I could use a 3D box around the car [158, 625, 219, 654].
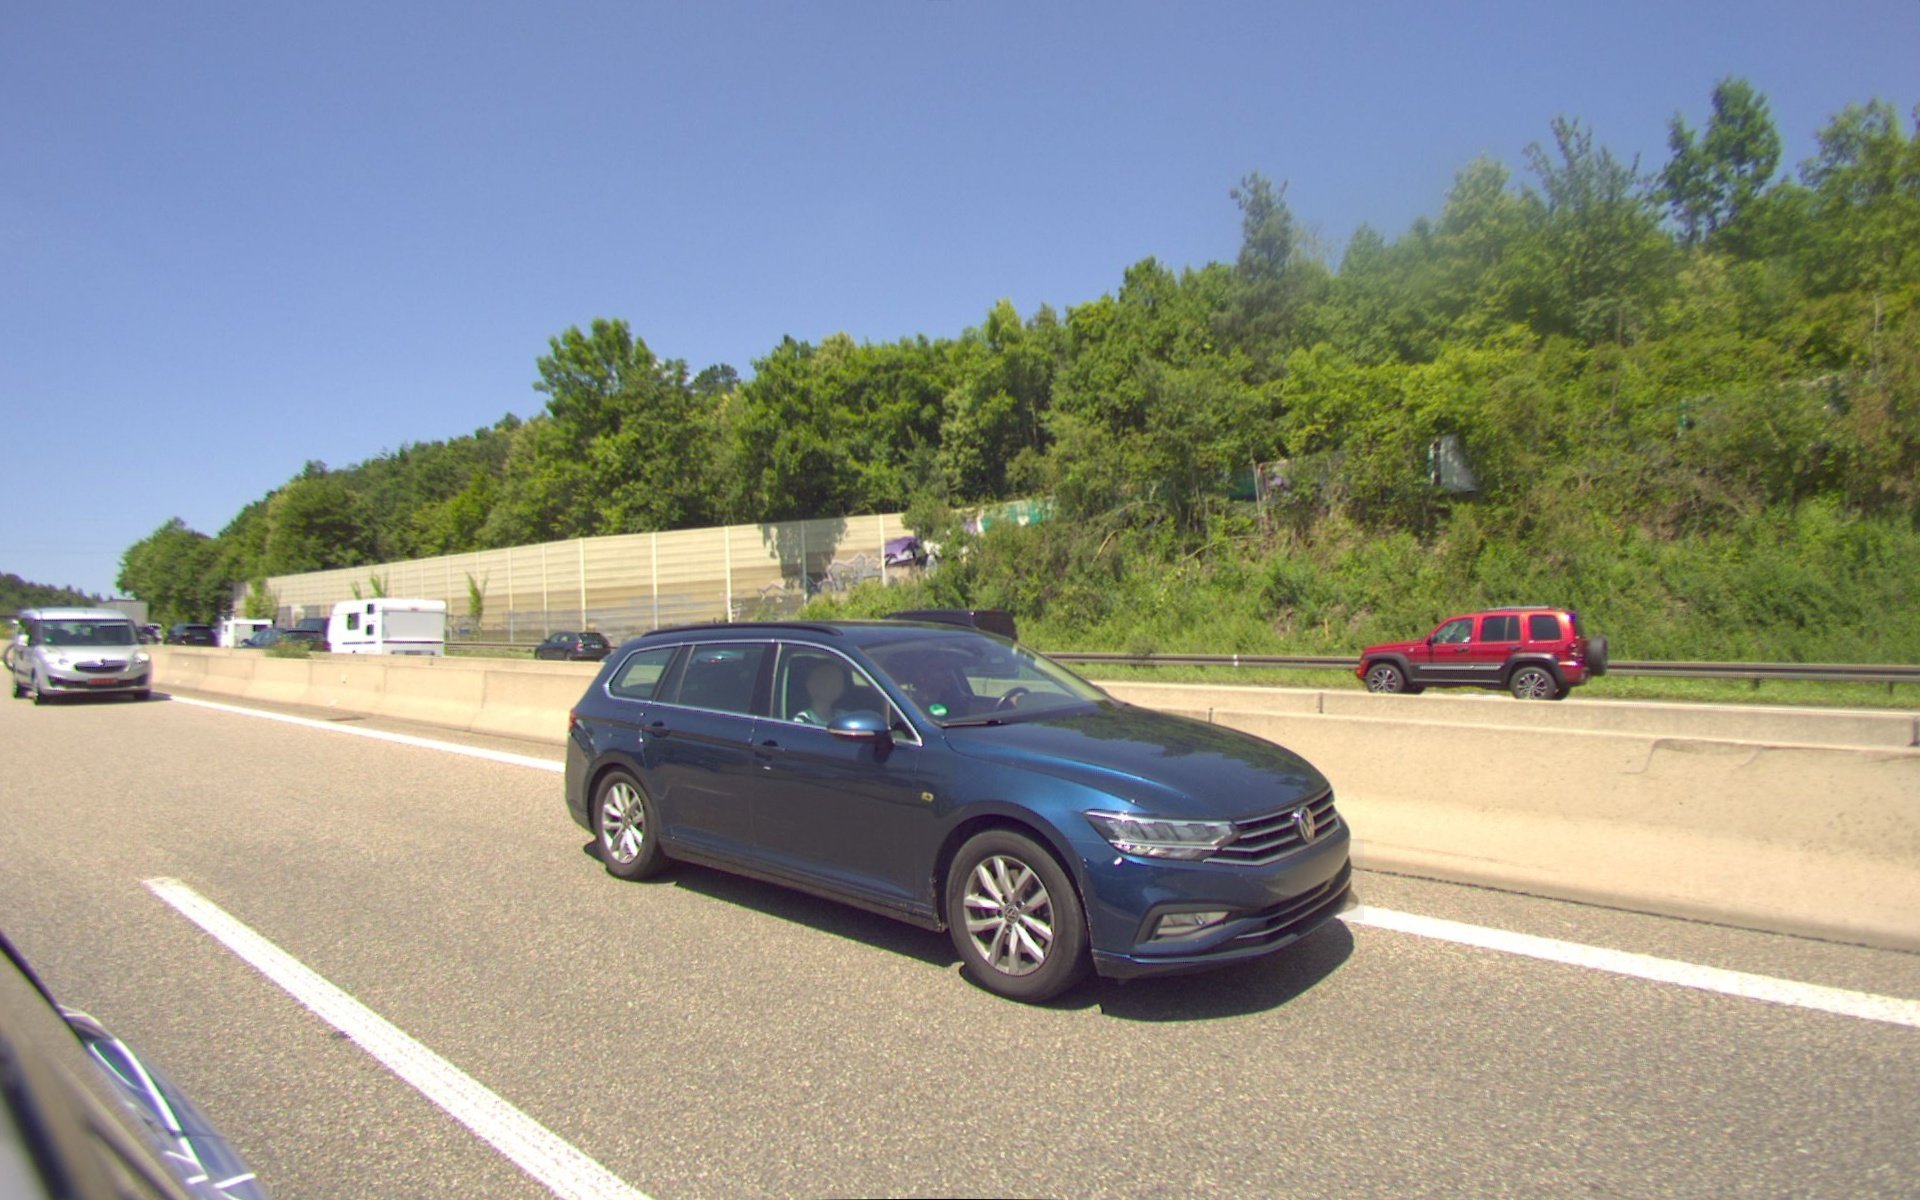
[{"bbox_3d":[-45.398,2.308,59.493,4.925,1.652,1.905,-2,-2,41],"label":"car"}]

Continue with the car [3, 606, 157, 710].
[{"bbox_3d":[-17.525,1.102,20.095,3.998,1.858,1.757,-2,-3,41],"label":"car"}]

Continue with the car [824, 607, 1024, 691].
[{"bbox_3d":[-0.952,1.140,24.235,4.858,1.823,1.717,-2,-2,39],"label":"car"}]

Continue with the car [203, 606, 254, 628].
[{"bbox_3d":[-48.907,1.163,67.627,4.721,1.357,1.782,-2,-2,41],"label":"car"}]

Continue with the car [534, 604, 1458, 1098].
[{"bbox_3d":[-0.235,0.803,5.193,4.728,1.438,1.714,-2,-2,41],"label":"car"}]

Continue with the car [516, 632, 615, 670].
[{"bbox_3d":[-16.727,2.117,42.817,4.692,1.446,1.926,-1,-2,41],"label":"car"}]

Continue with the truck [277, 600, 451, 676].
[{"bbox_3d":[-24.153,1.453,40.600,11.623,2.709,2.501,-1,-2,41],"label":"truck"}]

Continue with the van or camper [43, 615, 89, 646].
[{"bbox_3d":[-82.897,2.832,93.784,6.802,2.756,2.246,-1,-2,41],"label":"van or camper"}]

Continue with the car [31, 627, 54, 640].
[{"bbox_3d":[-135.266,4.912,149.193,5.302,1.881,1.901,-2,-2,42],"label":"car"}]

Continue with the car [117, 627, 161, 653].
[{"bbox_3d":[-55.736,2.667,68.682,4.194,1.696,1.675,-2,-2,41],"label":"car"}]

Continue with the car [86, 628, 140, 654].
[{"bbox_3d":[-46.255,2.217,55.244,4.268,1.386,1.597,-2,-2,41],"label":"car"}]

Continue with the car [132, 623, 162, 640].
[{"bbox_3d":[-89.607,3.455,111.512,5.105,1.824,1.790,-1,-2,42],"label":"car"}]

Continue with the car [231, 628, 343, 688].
[{"bbox_3d":[-22.516,1.881,33.799,4.692,1.815,1.926,-1,-2,41],"label":"car"}]

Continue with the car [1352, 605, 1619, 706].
[{"bbox_3d":[10.120,1.013,19.690,4.373,1.764,1.659,-1,-2,40],"label":"car"}]

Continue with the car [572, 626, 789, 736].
[{"bbox_3d":[-5.186,1.387,18.531,4.180,1.785,1.754,-2,-2,39],"label":"car"}]

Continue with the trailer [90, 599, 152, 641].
[{"bbox_3d":[-82.287,1.970,99.106,13.826,3.938,2.782,-1,-2,43],"label":"trailer"}]

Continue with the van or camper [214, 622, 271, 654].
[{"bbox_3d":[-44.965,2.373,63.424,3.702,1.992,2.055,-2,-3,41],"label":"van or camper"}]
